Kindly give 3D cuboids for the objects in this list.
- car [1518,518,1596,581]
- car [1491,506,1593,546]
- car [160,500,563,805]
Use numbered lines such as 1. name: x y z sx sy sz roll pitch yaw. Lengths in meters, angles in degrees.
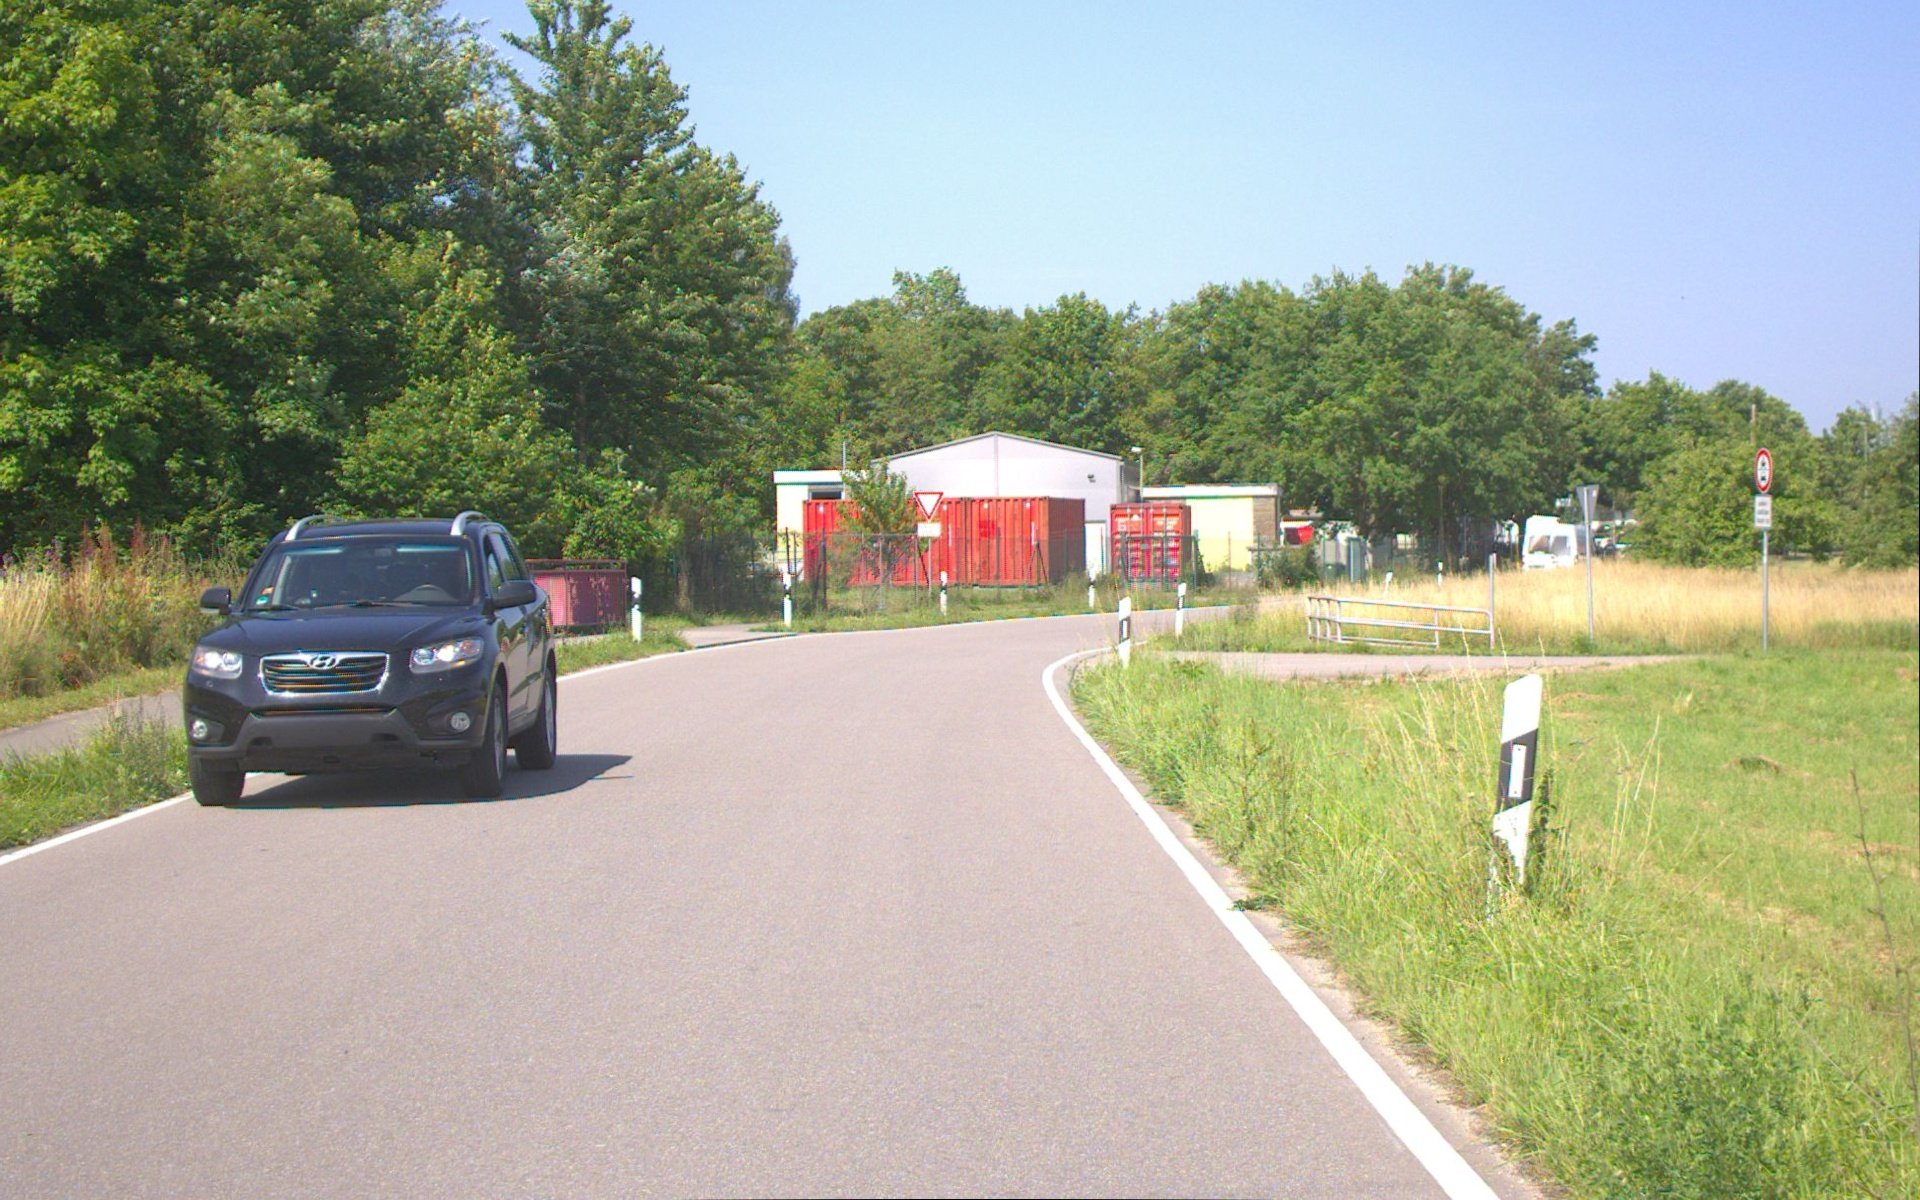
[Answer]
1. car: 21.753 -1.853 125.095 1.995 2.258 4.721 0 1 20
2. car: 34.054 -4.326 201.308 5.593 2.258 2.001 -1 1 -18
3. car: -3.749 0.269 22.263 1.865 1.747 4.297 -1 1 -1
